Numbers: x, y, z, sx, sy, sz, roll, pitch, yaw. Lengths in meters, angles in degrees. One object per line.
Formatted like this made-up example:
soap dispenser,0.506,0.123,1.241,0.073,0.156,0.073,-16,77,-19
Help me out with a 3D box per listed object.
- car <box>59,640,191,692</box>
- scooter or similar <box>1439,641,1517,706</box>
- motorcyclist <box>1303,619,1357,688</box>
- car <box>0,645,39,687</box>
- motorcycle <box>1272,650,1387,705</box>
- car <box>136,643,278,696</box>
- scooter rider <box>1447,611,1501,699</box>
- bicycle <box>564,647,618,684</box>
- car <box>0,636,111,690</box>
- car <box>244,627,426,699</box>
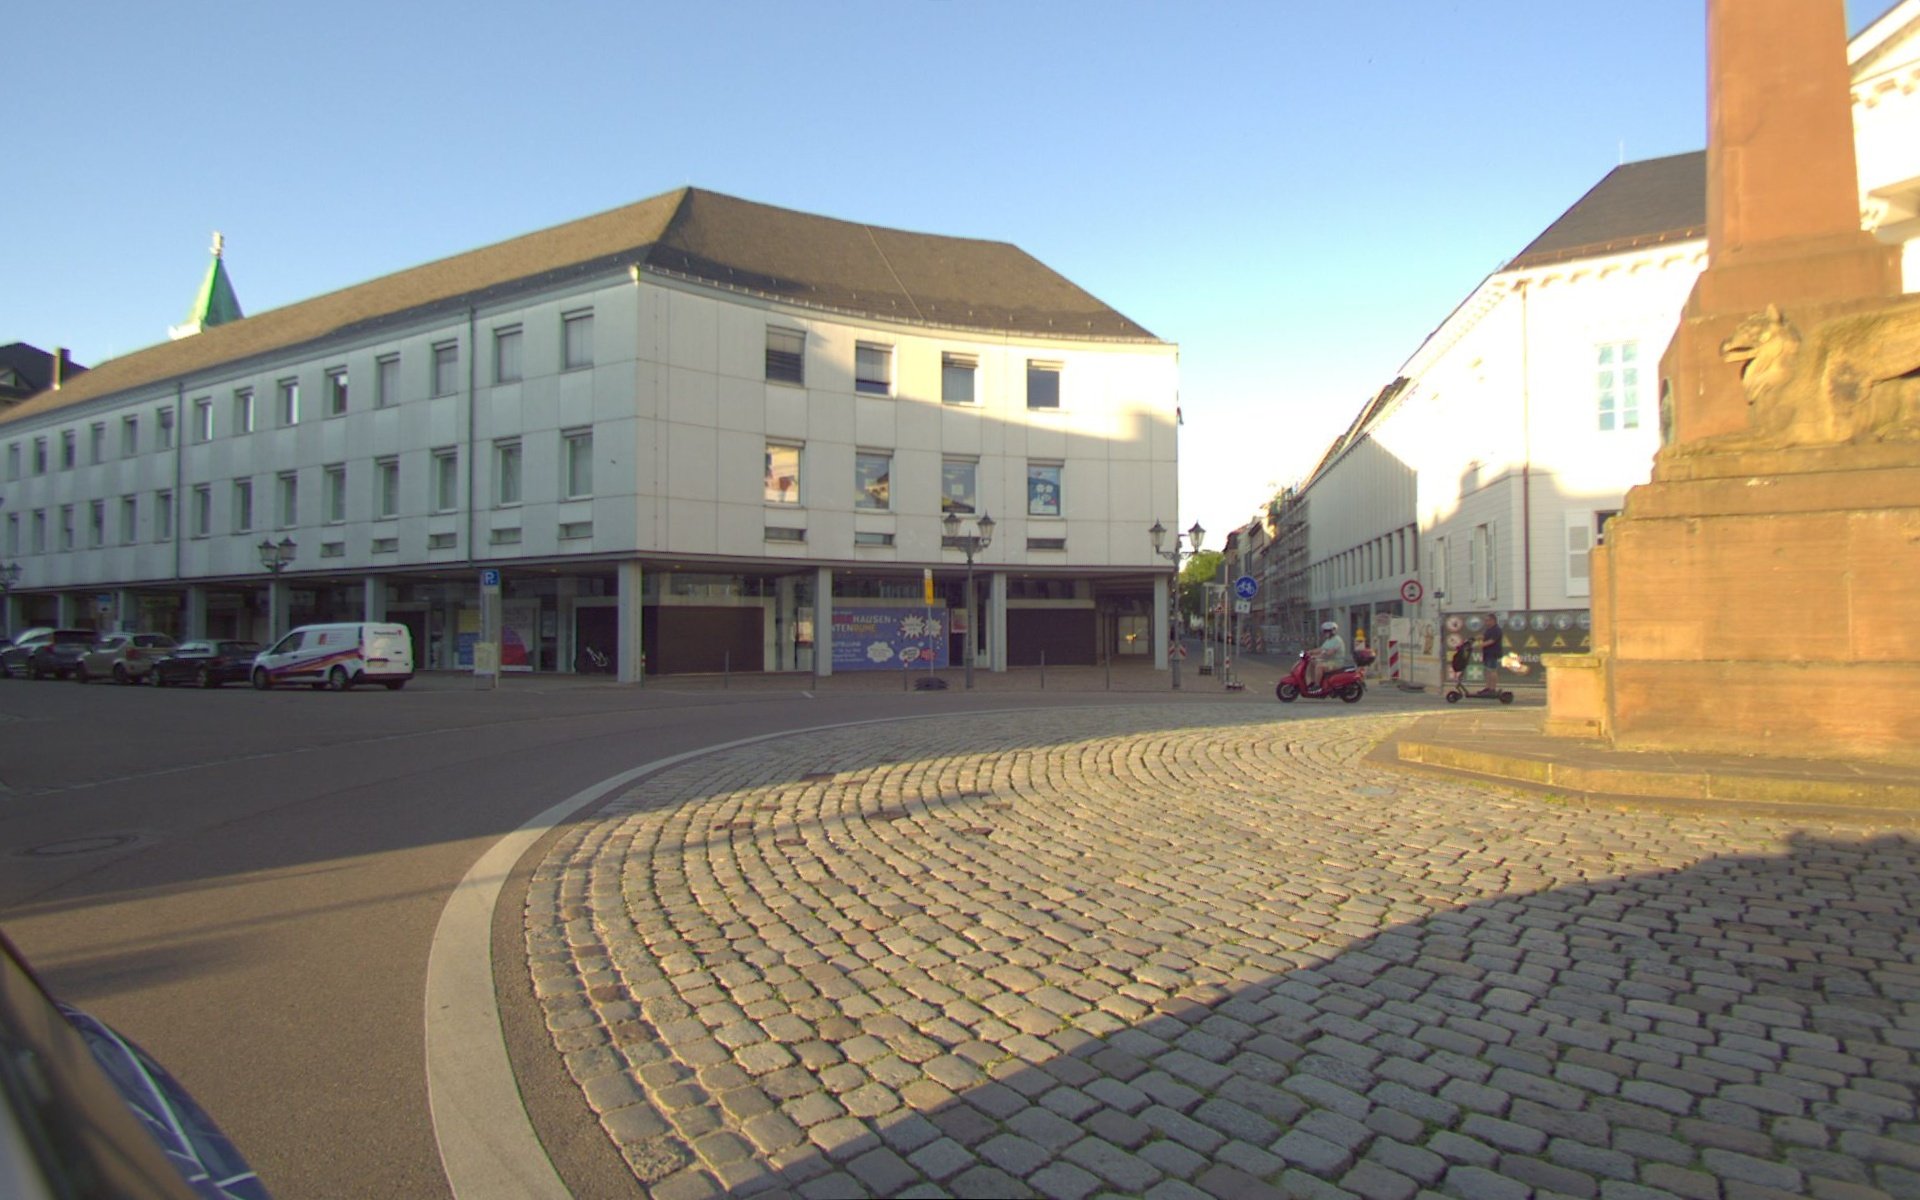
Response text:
car,-26.201,2.045,31.749,3.941,1.527,1.766,-1,-2,27
scooter or similar,10.644,1.483,20.785,1.354,1.281,0.680,-2,-3,32
motorcyclist,7.417,1.072,20.319,0.851,1.354,0.802,-1,-2,9
car,-36.527,2.436,37.806,4.307,1.503,1.766,-1,-2,27
motorcycle,7.391,1.551,20.325,2.010,1.054,0.802,-1,-2,9
car,-22.009,2.001,29.572,3.941,1.435,1.766,-1,-2,27
scooter rider,10.582,1.120,20.851,0.905,1.777,0.679,-2,-3,32
bicycle,-11.947,2.097,32.735,1.940,1.164,0.476,-1,-2,29
car,-31.297,2.133,34.743,4.307,1.741,1.766,-1,-2,27
car,-16.997,1.673,27.552,4.430,1.839,2.007,-1,-2,22
